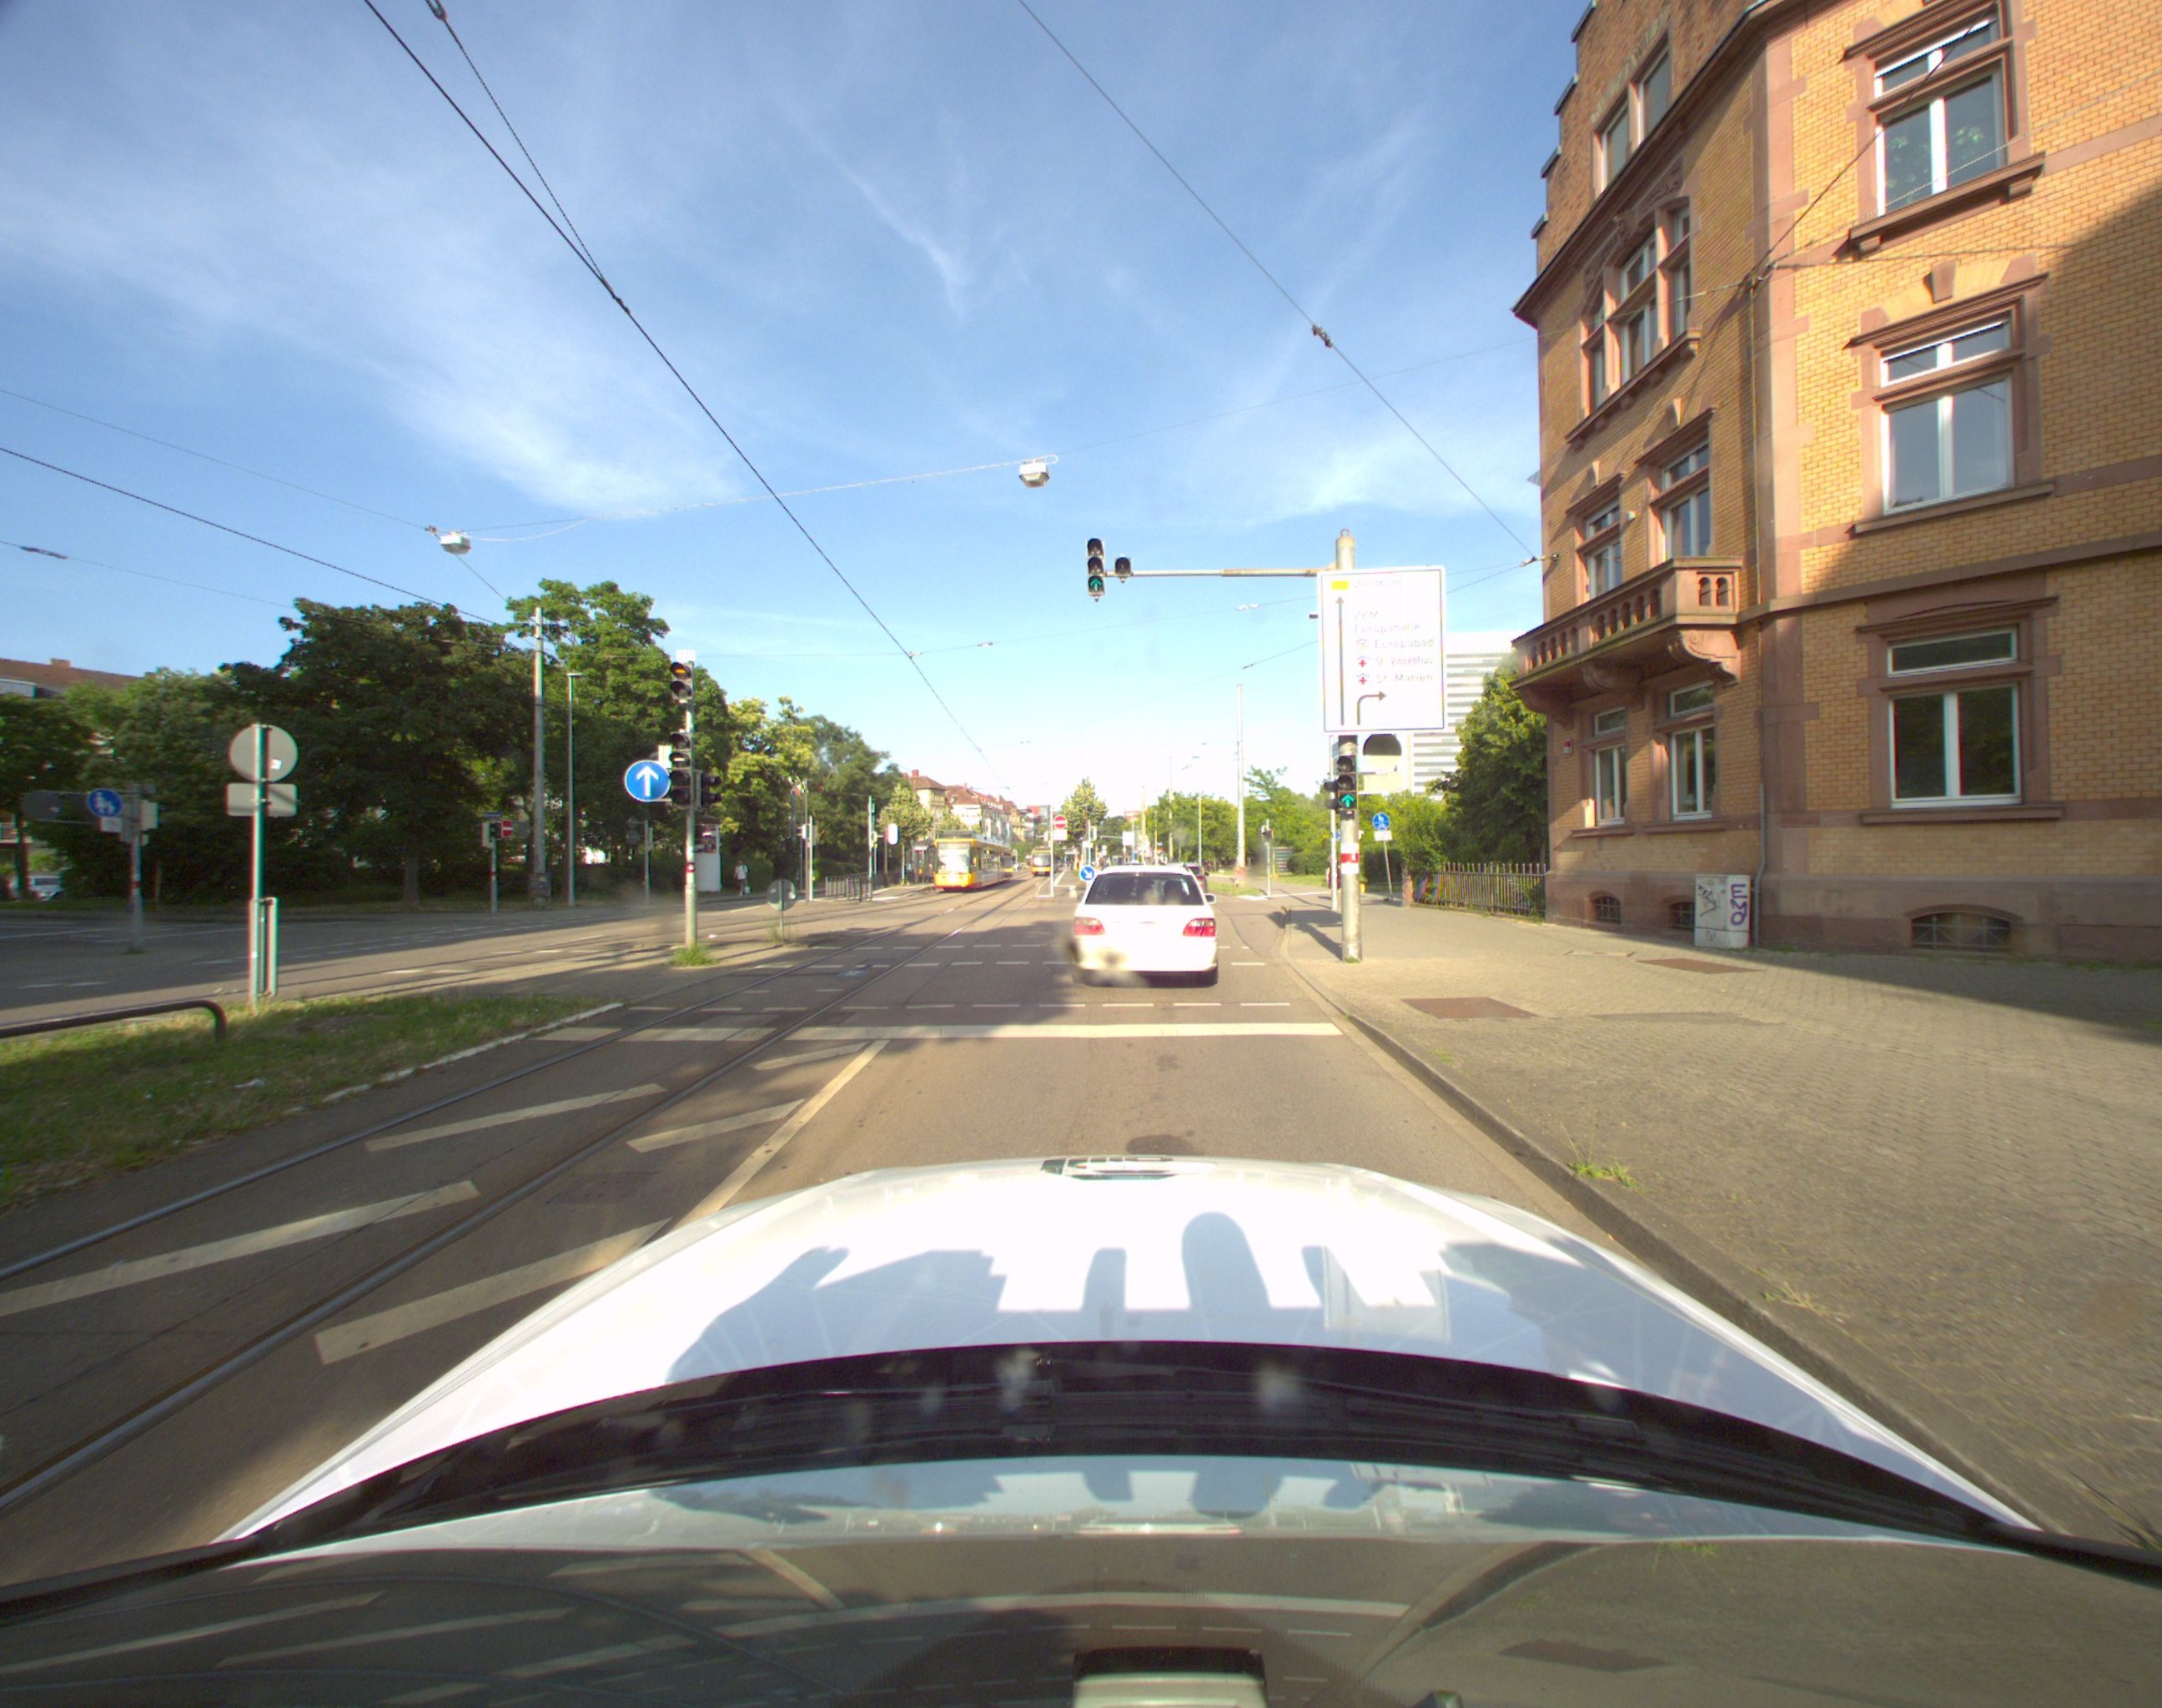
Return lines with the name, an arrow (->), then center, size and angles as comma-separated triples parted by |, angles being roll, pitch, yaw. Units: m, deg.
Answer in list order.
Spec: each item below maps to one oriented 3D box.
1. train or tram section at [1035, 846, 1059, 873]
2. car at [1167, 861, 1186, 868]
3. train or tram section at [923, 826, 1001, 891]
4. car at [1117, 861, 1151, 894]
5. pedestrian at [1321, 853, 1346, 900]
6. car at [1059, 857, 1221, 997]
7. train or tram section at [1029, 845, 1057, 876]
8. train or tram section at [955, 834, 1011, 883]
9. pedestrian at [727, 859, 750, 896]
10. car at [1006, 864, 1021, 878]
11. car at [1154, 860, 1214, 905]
train or tram section -> -4.579, 0.741, 111.839 | 2.841, 3.479, 13.194 | 0, 0, -1
car -> 23.404, 2.486, 199.604 | 3.951, 1.651, 2.011 | -1, -1, 24
train or tram section -> -7.080, 0.278, 50.689 | 3.153, 3.479, 14.520 | 0, 0, -2
car -> 2.956, 1.260, 45.182 | 1.779, 1.690, 4.004 | 0, 0, 3
pedestrian -> 9.478, 0.840, 30.587 | 0.612, 1.692, 0.549 | -5, -1, 3
car -> 0.694, 0.812, 10.916 | 1.752, 1.503, 4.001 | -1, -1, 1
train or tram section -> -4.479, 0.799, 98.916 | 2.841, 3.479, 13.195 | 1, 0, -1
train or tram section -> -7.595, 0.349, 65.166 | 3.153, 3.479, 14.460 | 0, 0, -2
pedestrian -> -17.998, 1.234, 42.831 | 1.004, 1.909, 0.705 | 0, -1, -14
car -> -13.852, 3.432, 168.179 | 2.589, 2.735, 7.464 | 0, 0, -1
car -> 3.884, 1.036, 31.320 | 2.024, 1.605, 4.003 | 0, 0, 3
